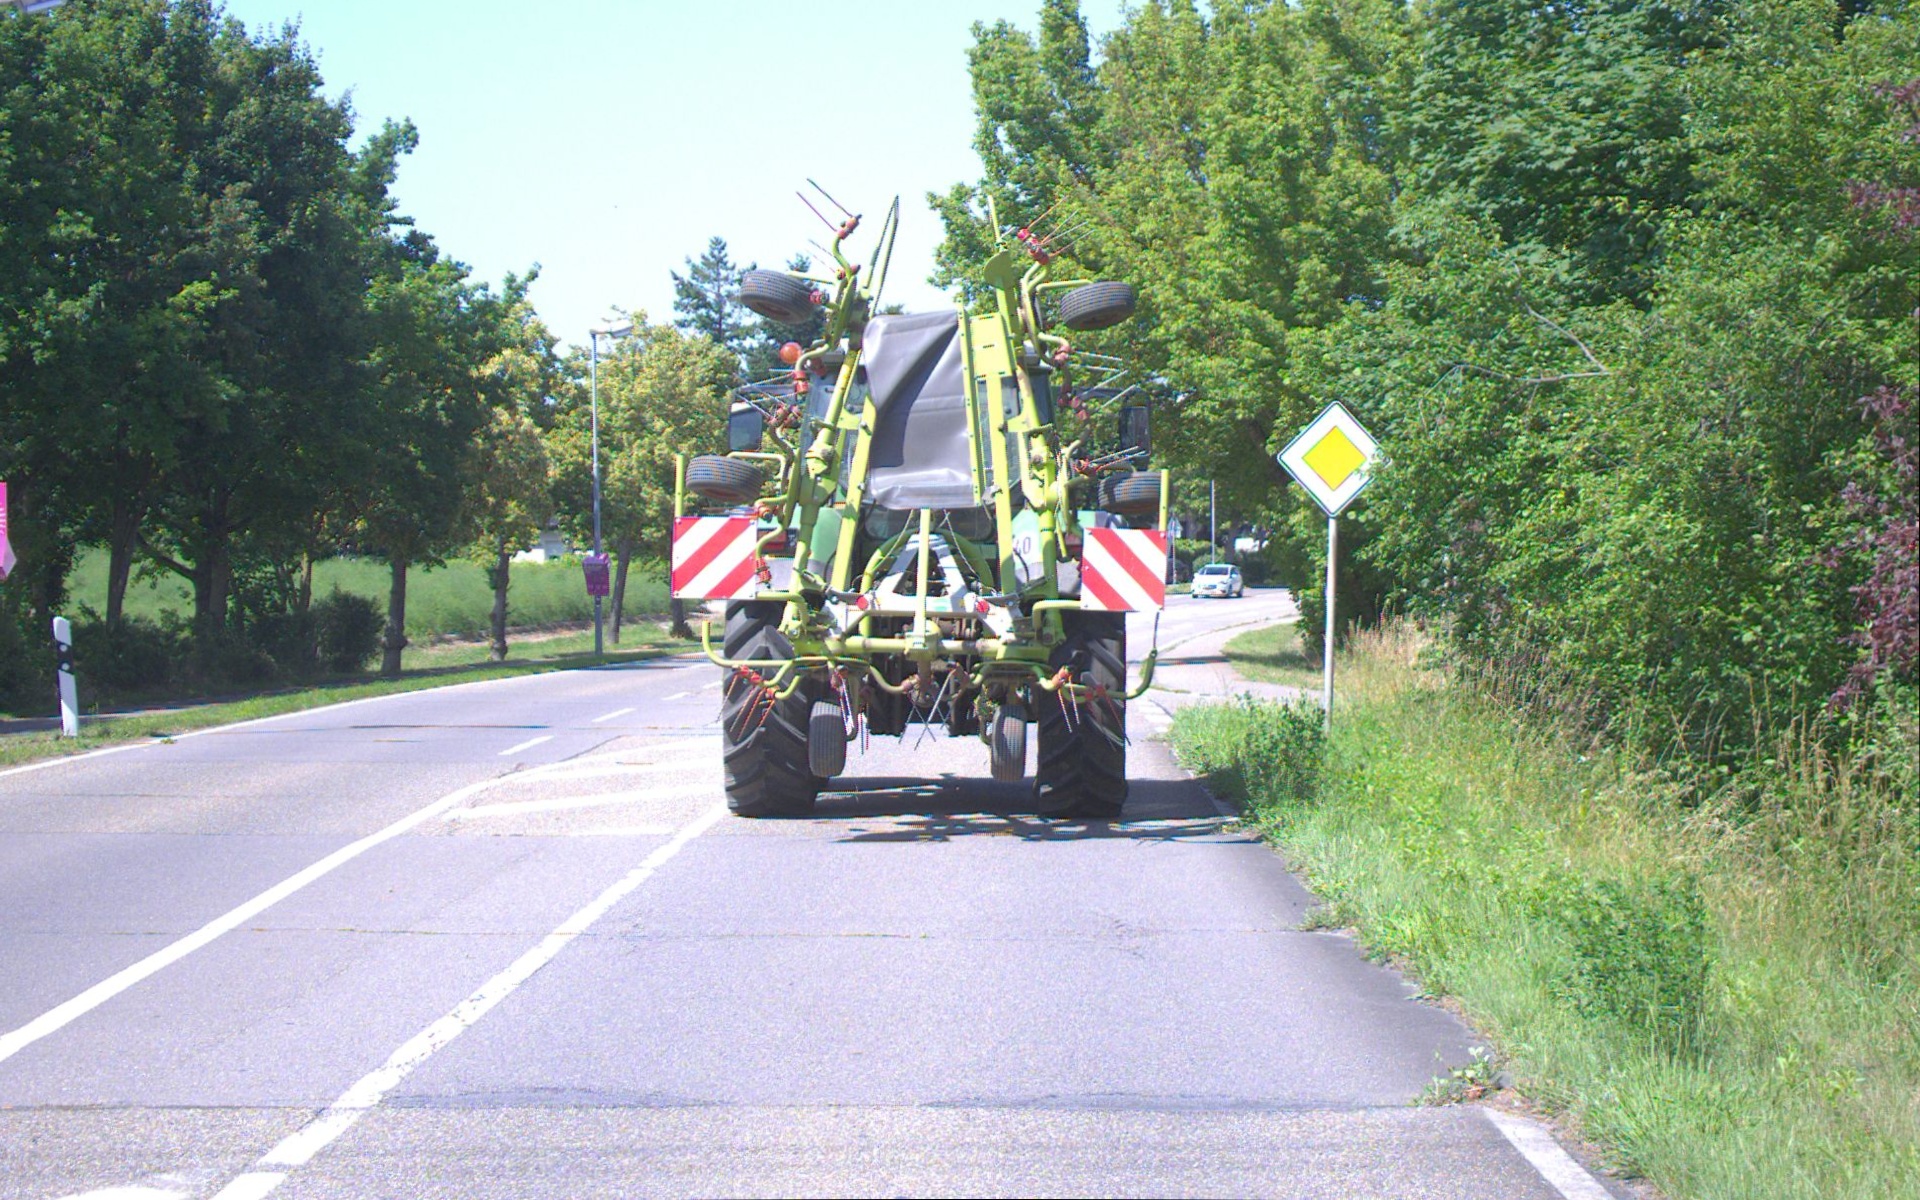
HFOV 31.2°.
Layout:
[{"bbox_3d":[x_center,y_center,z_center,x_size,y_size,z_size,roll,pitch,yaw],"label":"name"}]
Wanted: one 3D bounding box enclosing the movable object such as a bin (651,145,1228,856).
[{"bbox_3d":[-0.156,-0.597,22.111,2.853,3.529,9.701,1,1,-1],"label":"movable object such as a bin"}]
